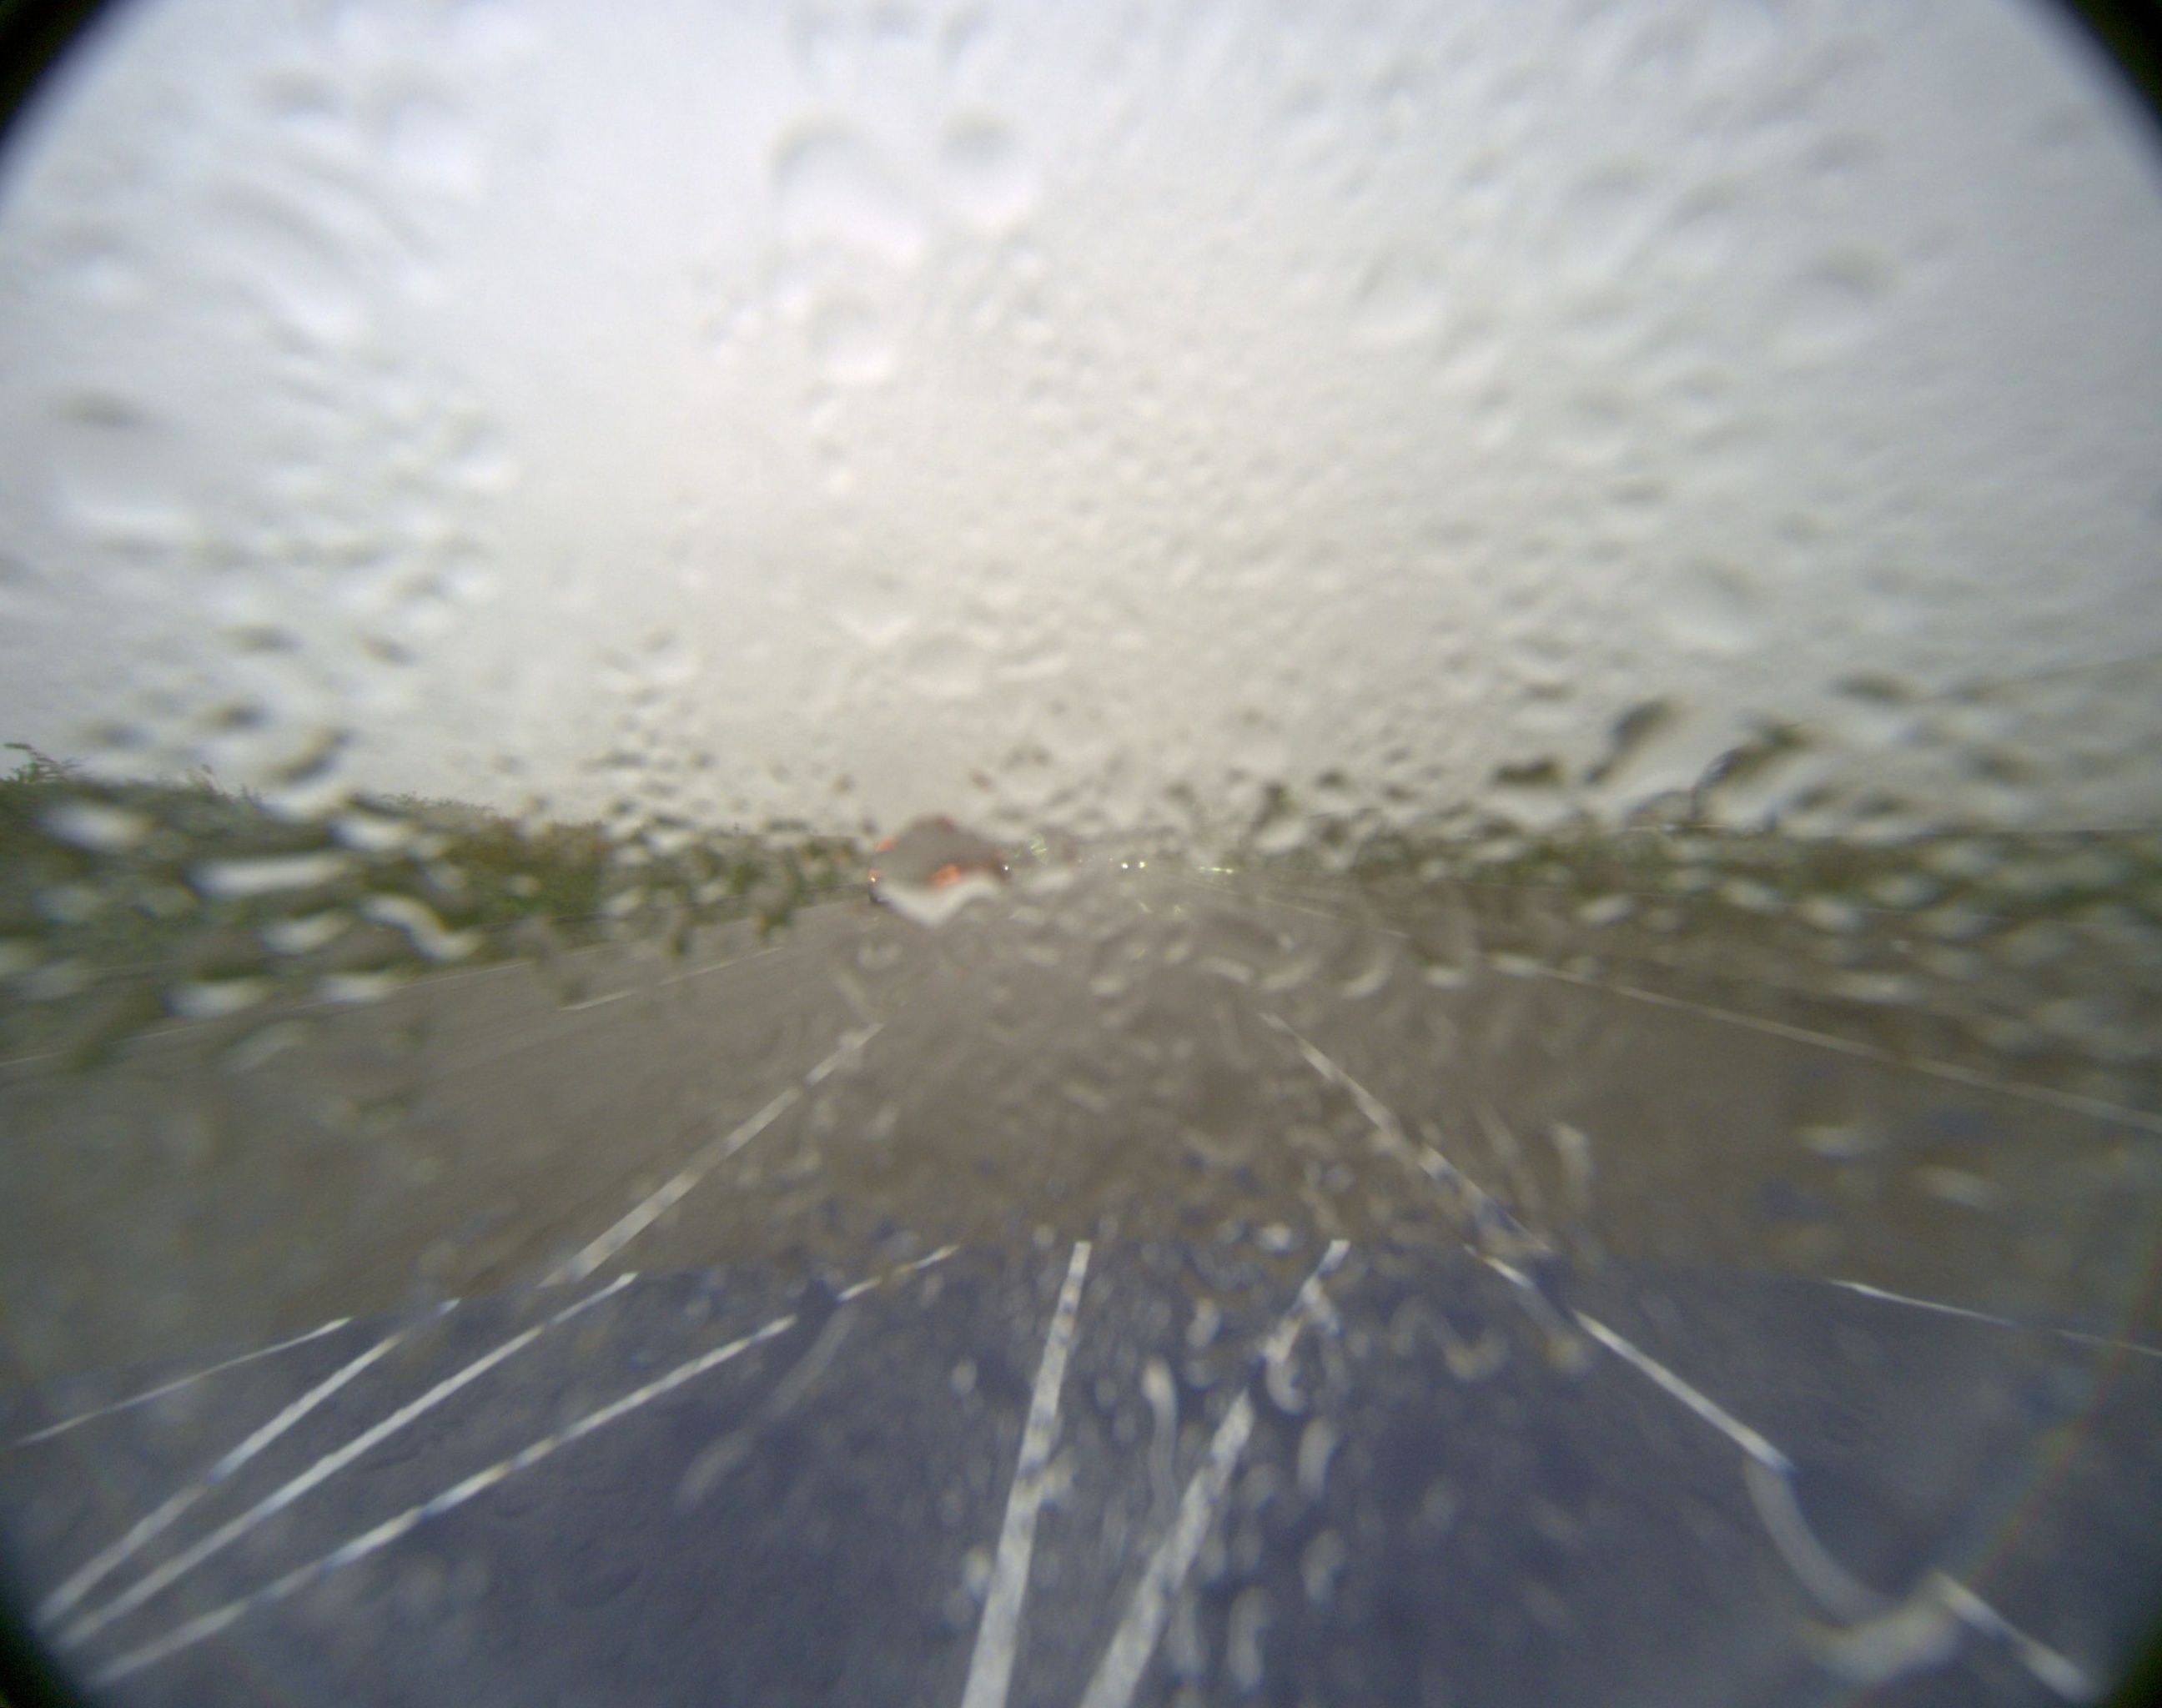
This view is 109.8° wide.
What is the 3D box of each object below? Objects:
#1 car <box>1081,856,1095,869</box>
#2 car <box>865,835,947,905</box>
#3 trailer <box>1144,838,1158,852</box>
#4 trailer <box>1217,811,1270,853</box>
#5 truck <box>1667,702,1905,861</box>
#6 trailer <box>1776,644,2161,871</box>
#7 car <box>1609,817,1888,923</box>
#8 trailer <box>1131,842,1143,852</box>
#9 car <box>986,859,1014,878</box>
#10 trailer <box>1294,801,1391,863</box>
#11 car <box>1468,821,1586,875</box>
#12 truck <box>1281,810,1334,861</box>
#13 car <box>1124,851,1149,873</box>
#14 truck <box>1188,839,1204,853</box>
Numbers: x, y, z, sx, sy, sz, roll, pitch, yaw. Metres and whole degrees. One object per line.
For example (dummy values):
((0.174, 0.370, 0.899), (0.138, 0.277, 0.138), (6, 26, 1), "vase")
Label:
((0.878, 1.038, 99.215), (1.701, 1.543, 3.733), (-3, 1, 1), "car")
((-7.404, 0.587, 32.965), (2.066, 2.600, 6.884), (-4, 0, -2), "car")
((19.875, -2.497, 216.541), (2.442, 3.916, 13.490), (-4, 0, -1), "trailer")
((16.230, -2.081, 76.950), (2.825, 3.829, 12.405), (-2, 0, 1), "trailer")
((18.915, -1.753, 20.781), (1.998, 3.759, 4.813), (-2, 0, 1), "truck")
((18.834, -1.627, 12.581), (1.998, 3.743, 13.859), (-2, 0, 1), "trailer")
((11.976, 0.247, 14.046), (1.606, 1.608, 4.000), (-3, 0, 1), "car")
((19.132, -2.469, 260.395), (3.265, 3.436, 9.442), (-2, 0, 1), "trailer")
((-6.741, 1.192, 63.640), (1.913, 1.477, 4.476), (-2, 0, -2), "car")
((20.338, -1.566, 60.313), (2.825, 4.226, 13.236), (-3, 0, -1), "trailer")
((16.195, -0.227, 27.855), (1.998, 1.729, 3.999), (-3, 1, 1), "car")
((20.260, -1.614, 68.318), (2.766, 4.270, 5.839), (-3, 0, 0), "truck")
((4.320, 0.622, 59.781), (1.701, 1.543, 3.733), (-3, 1, 1), "car")
((25.958, -1.789, 171.760), (2.826, 2.892, 8.282), (-2, 1, 4), "truck")
